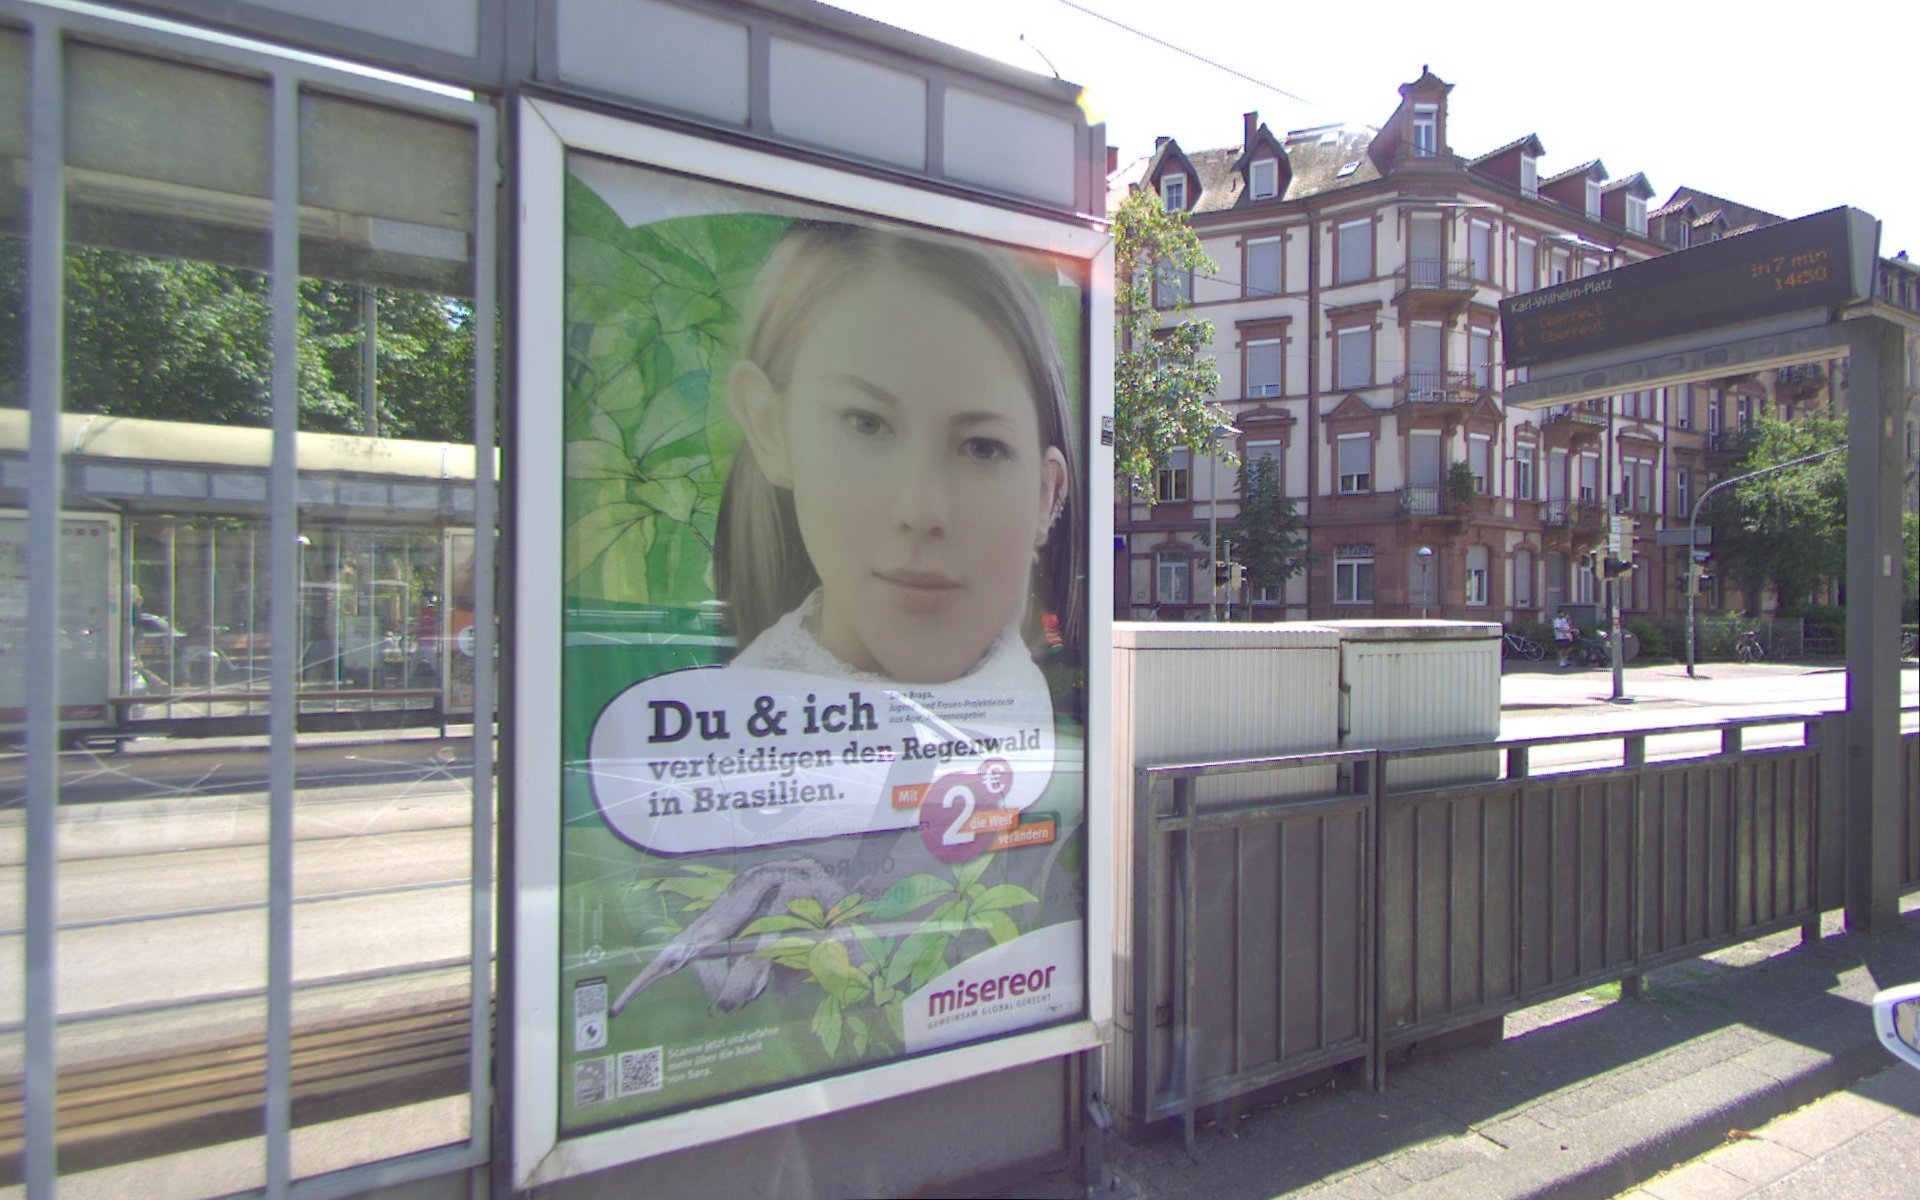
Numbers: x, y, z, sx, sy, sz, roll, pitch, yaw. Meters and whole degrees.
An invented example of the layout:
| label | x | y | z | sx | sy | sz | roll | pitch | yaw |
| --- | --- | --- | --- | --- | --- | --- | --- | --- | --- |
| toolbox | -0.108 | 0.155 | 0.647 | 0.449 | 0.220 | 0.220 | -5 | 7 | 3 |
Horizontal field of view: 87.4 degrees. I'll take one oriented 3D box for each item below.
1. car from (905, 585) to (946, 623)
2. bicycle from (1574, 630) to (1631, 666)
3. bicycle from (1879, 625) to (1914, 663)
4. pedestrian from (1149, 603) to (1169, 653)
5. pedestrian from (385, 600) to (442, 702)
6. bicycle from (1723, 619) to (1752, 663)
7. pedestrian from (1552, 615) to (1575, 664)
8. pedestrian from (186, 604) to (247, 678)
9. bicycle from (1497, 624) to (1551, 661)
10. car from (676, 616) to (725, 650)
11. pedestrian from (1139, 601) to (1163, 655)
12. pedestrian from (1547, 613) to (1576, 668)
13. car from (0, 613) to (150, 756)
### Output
| label | x | y | z | sx | sy | sz | roll | pitch | yaw |
| --- | --- | --- | --- | --- | --- | --- | --- | --- | --- |
| car | -1.447 | 0.164 | 40.931 | 1.512 | 1.461 | 3.739 | 1 | 0 | -4 |
| bicycle | 19.827 | 1.476 | 31.025 | 1.376 | 1.027 | 0.389 | 3 | 0 | 21 |
| bicycle | 35.284 | 1.628 | 37.877 | 0.583 | 1.374 | 2.433 | 1 | 0 | 34 |
| pedestrian | 7.215 | 1.003 | 36.486 | 0.500 | 1.791 | 0.527 | 1 | 0 | 39 |
| pedestrian | -9.008 | 0.823 | 16.546 | 0.764 | 1.627 | 0.676 | 1 | 0 | -32 |
| bicycle | 26.182 | 1.373 | 33.836 | 0.606 | 1.414 | 2.301 | 1 | 0 | 34 |
| pedestrian | 19.222 | 1.254 | 31.999 | 0.497 | 1.536 | 0.469 | 1 | 0 | 19 |
| pedestrian | -13.049 | 0.710 | 17.639 | 0.539 | 1.272 | 0.646 | 1 | 0 | 21 |
| bicycle | 18.727 | 1.409 | 33.349 | 1.489 | 1.185 | 0.365 | 1 | 1 | 16 |
| car | -11.919 | 1.480 | 46.264 | 1.512 | 1.461 | 3.739 | 1 | 0 | -4 |
| pedestrian | 6.714 | 0.985 | 35.354 | 0.556 | 1.850 | 0.632 | 1 | 0 | 39 |
| pedestrian | 18.665 | 1.246 | 31.193 | 0.641 | 1.637 | 0.469 | 1 | 3 | 19 |
| car | -10.482 | 0.804 | 9.884 | 3.676 | 1.356 | 1.533 | 2 | -1 | -31 |
